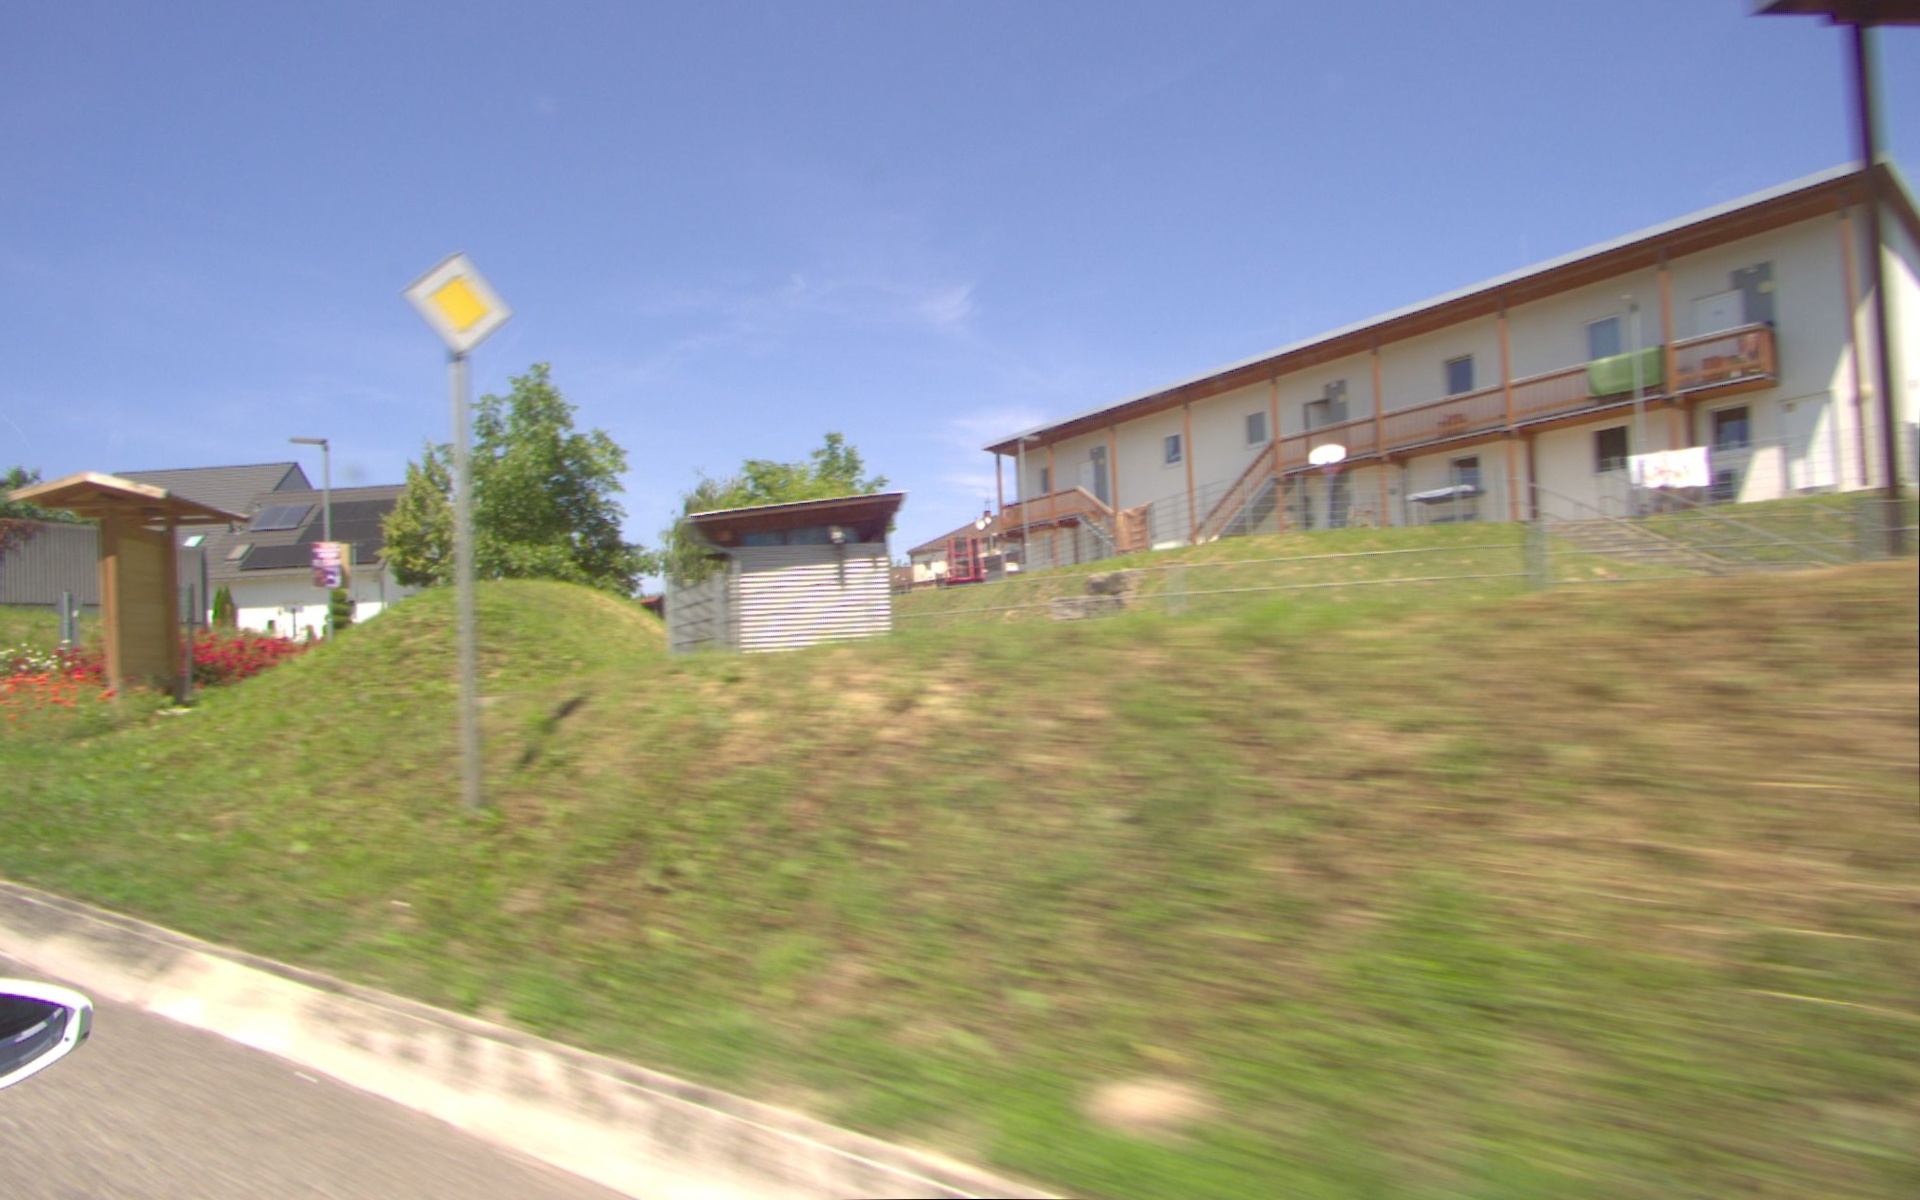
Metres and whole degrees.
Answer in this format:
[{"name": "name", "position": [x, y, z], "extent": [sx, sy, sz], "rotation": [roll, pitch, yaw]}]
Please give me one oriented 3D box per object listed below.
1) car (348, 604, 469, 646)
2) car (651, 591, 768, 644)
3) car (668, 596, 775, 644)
[{"name": "car", "position": [-25.911, 1.196, 47.136], "extent": [4.515, 1.674, 2.003], "rotation": [2, -5, 1]}, {"name": "car", "position": [-9.519, 0.684, 38.278], "extent": [3.922, 1.773, 1.872], "rotation": [-3, -2, 0]}, {"name": "car", "position": [-9.832, 0.852, 41.444], "extent": [3.922, 1.773, 1.872], "rotation": [-3, -2, 0]}]
